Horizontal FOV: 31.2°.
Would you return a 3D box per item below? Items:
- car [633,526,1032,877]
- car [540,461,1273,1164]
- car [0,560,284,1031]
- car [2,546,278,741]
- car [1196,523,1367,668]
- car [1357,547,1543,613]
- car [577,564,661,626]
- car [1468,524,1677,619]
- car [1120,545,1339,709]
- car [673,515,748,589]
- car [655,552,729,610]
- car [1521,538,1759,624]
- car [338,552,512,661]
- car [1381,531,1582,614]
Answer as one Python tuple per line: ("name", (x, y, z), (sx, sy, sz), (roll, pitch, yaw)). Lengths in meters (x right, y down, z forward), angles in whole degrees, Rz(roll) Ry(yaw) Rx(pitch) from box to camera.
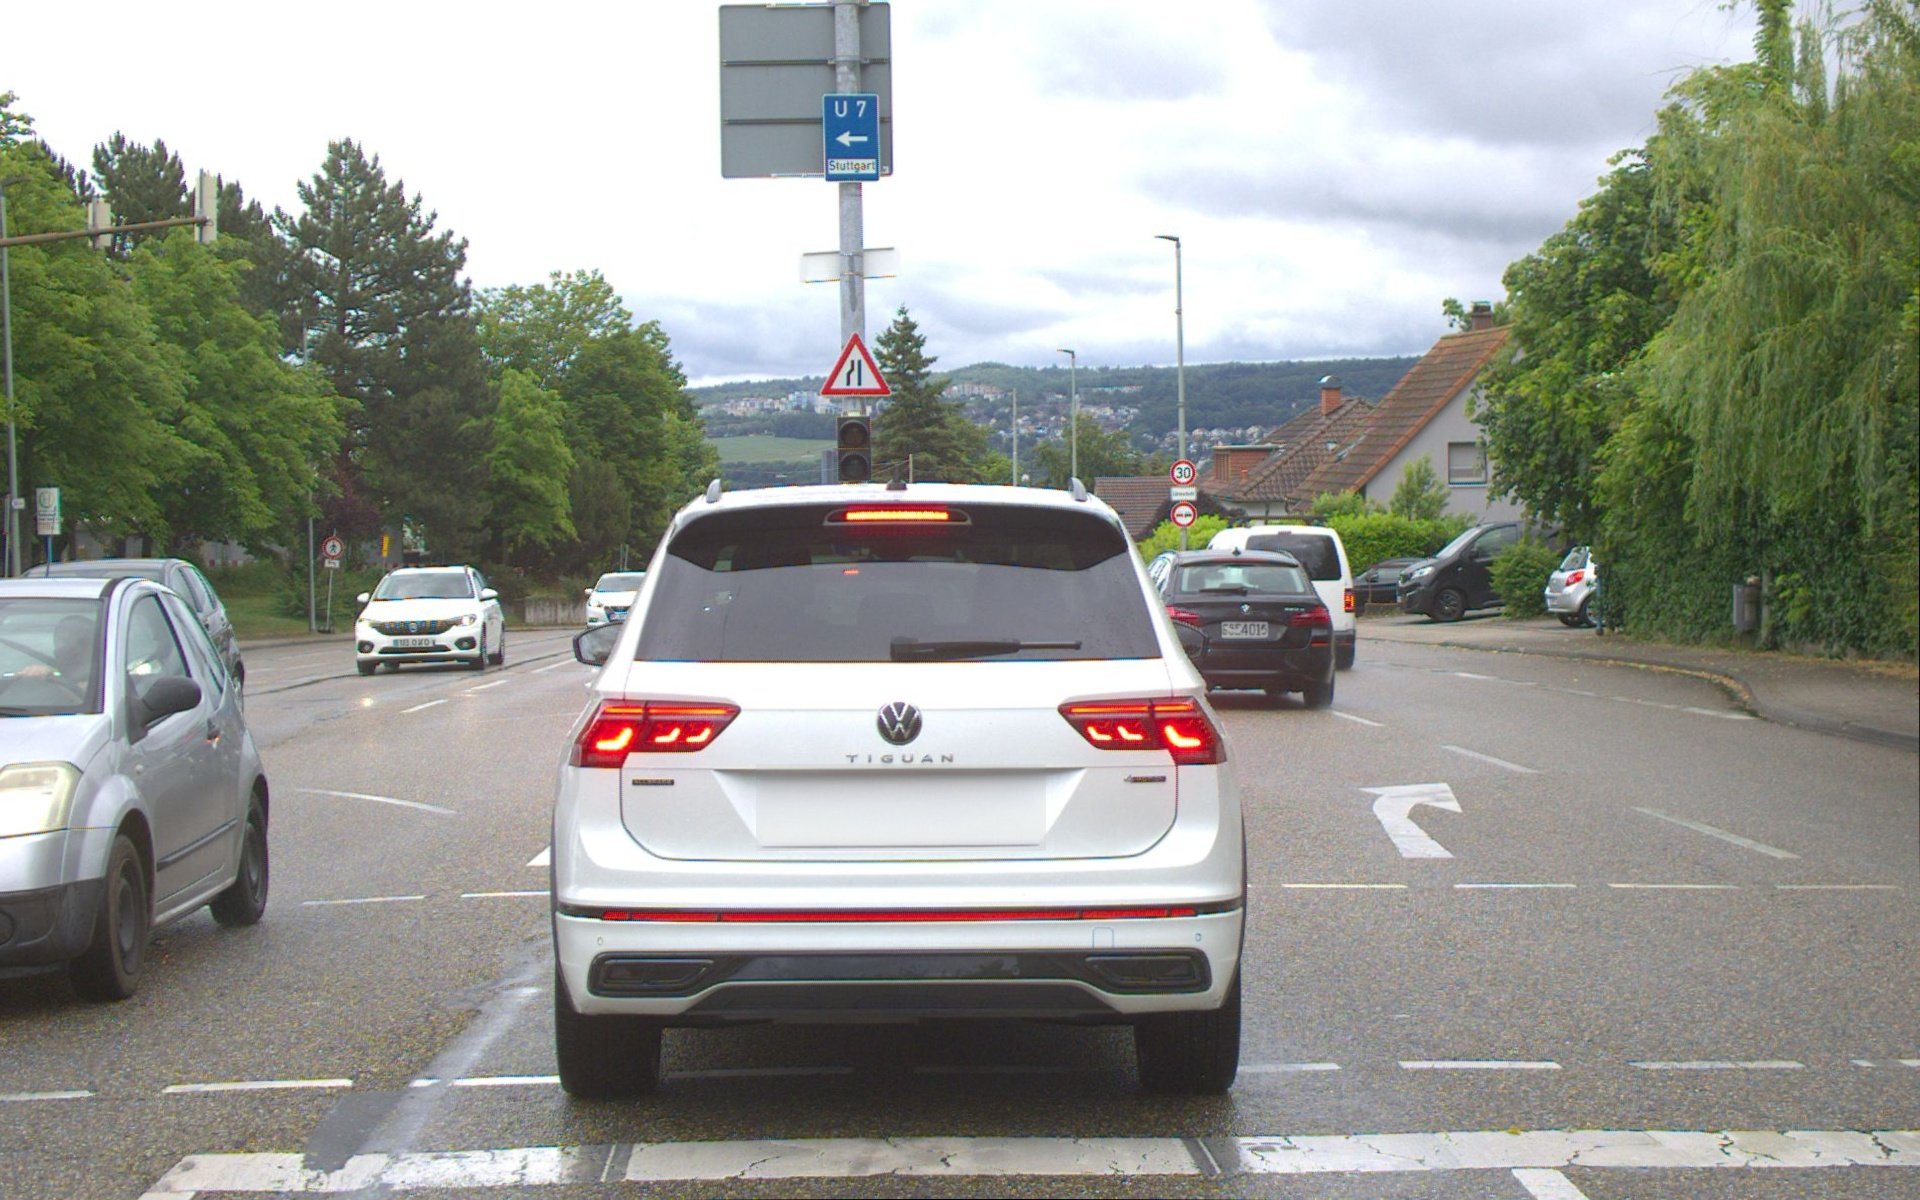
("car", (-0.574, 0.424, 17.477), (1.798, 1.584, 3.926), (0, 1, 0))
("car", (-0.170, 0.467, 10.415), (1.763, 1.690, 4.273), (0, 1, -1))
("car", (-3.641, 0.620, 12.620), (1.639, 1.455, 3.519), (-2, 1, -1))
("car", (-7.210, 0.337, 30.530), (1.699, 1.593, 3.550), (-1, 1, -2))
("car", (4.076, -0.096, 44.030), (1.712, 1.752, 3.802), (-1, 1, -2))
("car", (10.373, -0.422, 72.943), (3.687, 1.365, 1.519), (0, -1, -2))
("car", (-8.137, -0.145, 82.339), (1.746, 1.392, 3.802), (-1, 1, -2))
("car", (11.715, -0.556, 65.890), (3.627, 1.740, 1.708), (0, 2, -4))
("car", (2.511, 0.213, 32.778), (1.680, 1.455, 3.802), (0, 1, -2))
("car", (-8.636, -1.688, 119.613), (2.297, 2.519, 5.774), (0, 1, -1))
("car", (-7.566, -0.552, 97.421), (1.776, 1.497, 4.472), (-3, 1, -1))
("car", (11.937, -0.329, 60.489), (3.713, 1.390, 1.729), (-1, 0, -7))
("car", (-7.668, 0.065, 49.594), (1.967, 1.449, 4.309), (1, 1, -2))
("car", (10.335, -0.550, 68.219), (3.627, 1.620, 1.791), (0, 1, -4))
